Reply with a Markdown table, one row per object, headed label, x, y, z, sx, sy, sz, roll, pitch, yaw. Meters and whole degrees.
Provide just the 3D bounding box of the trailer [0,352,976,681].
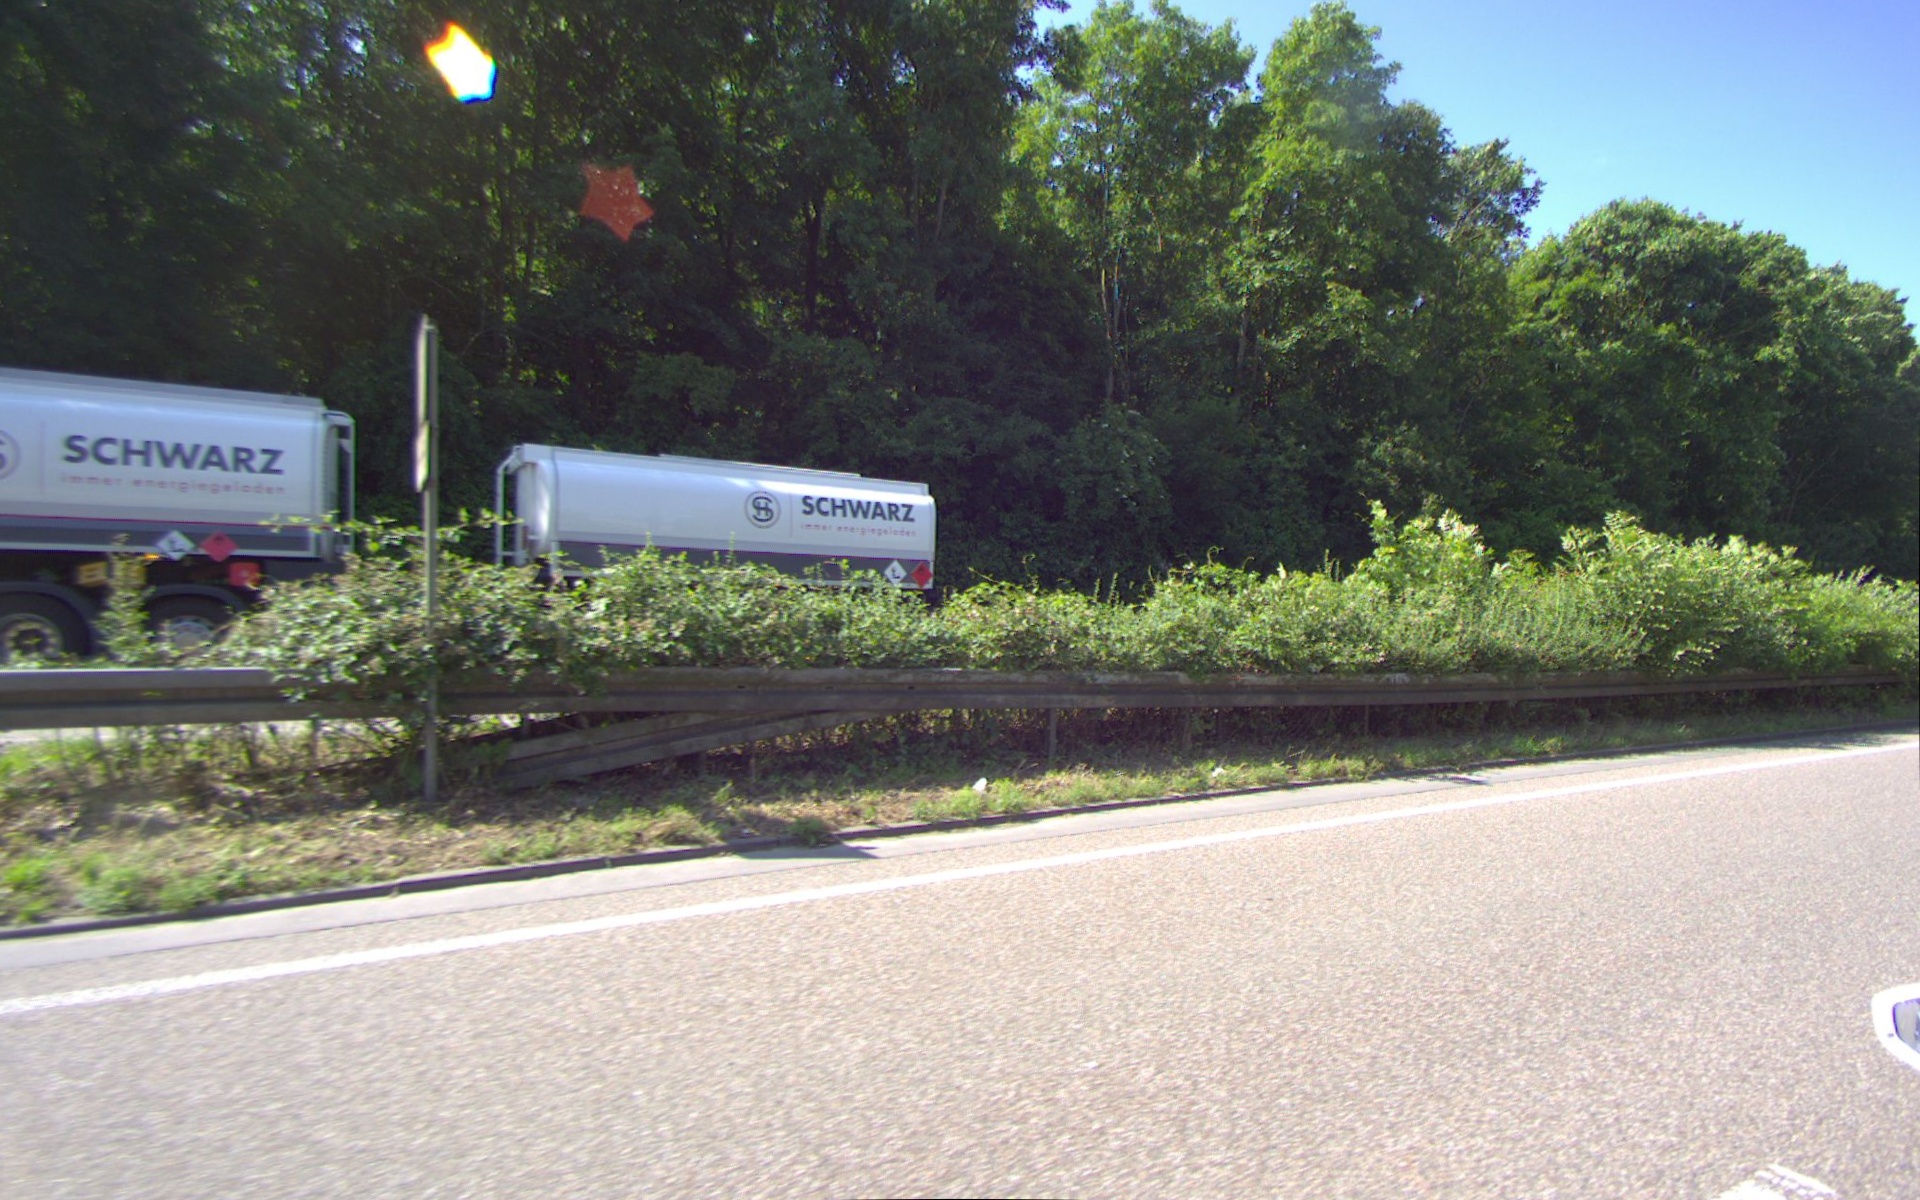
| label | x | y | z | sx | sy | sz | roll | pitch | yaw |
| --- | --- | --- | --- | --- | --- | --- | --- | --- | --- |
| trailer | -6.542 | -0.751 | 13.237 | 14.262 | 3.278 | 2.480 | 2 | 0 | -30 |
